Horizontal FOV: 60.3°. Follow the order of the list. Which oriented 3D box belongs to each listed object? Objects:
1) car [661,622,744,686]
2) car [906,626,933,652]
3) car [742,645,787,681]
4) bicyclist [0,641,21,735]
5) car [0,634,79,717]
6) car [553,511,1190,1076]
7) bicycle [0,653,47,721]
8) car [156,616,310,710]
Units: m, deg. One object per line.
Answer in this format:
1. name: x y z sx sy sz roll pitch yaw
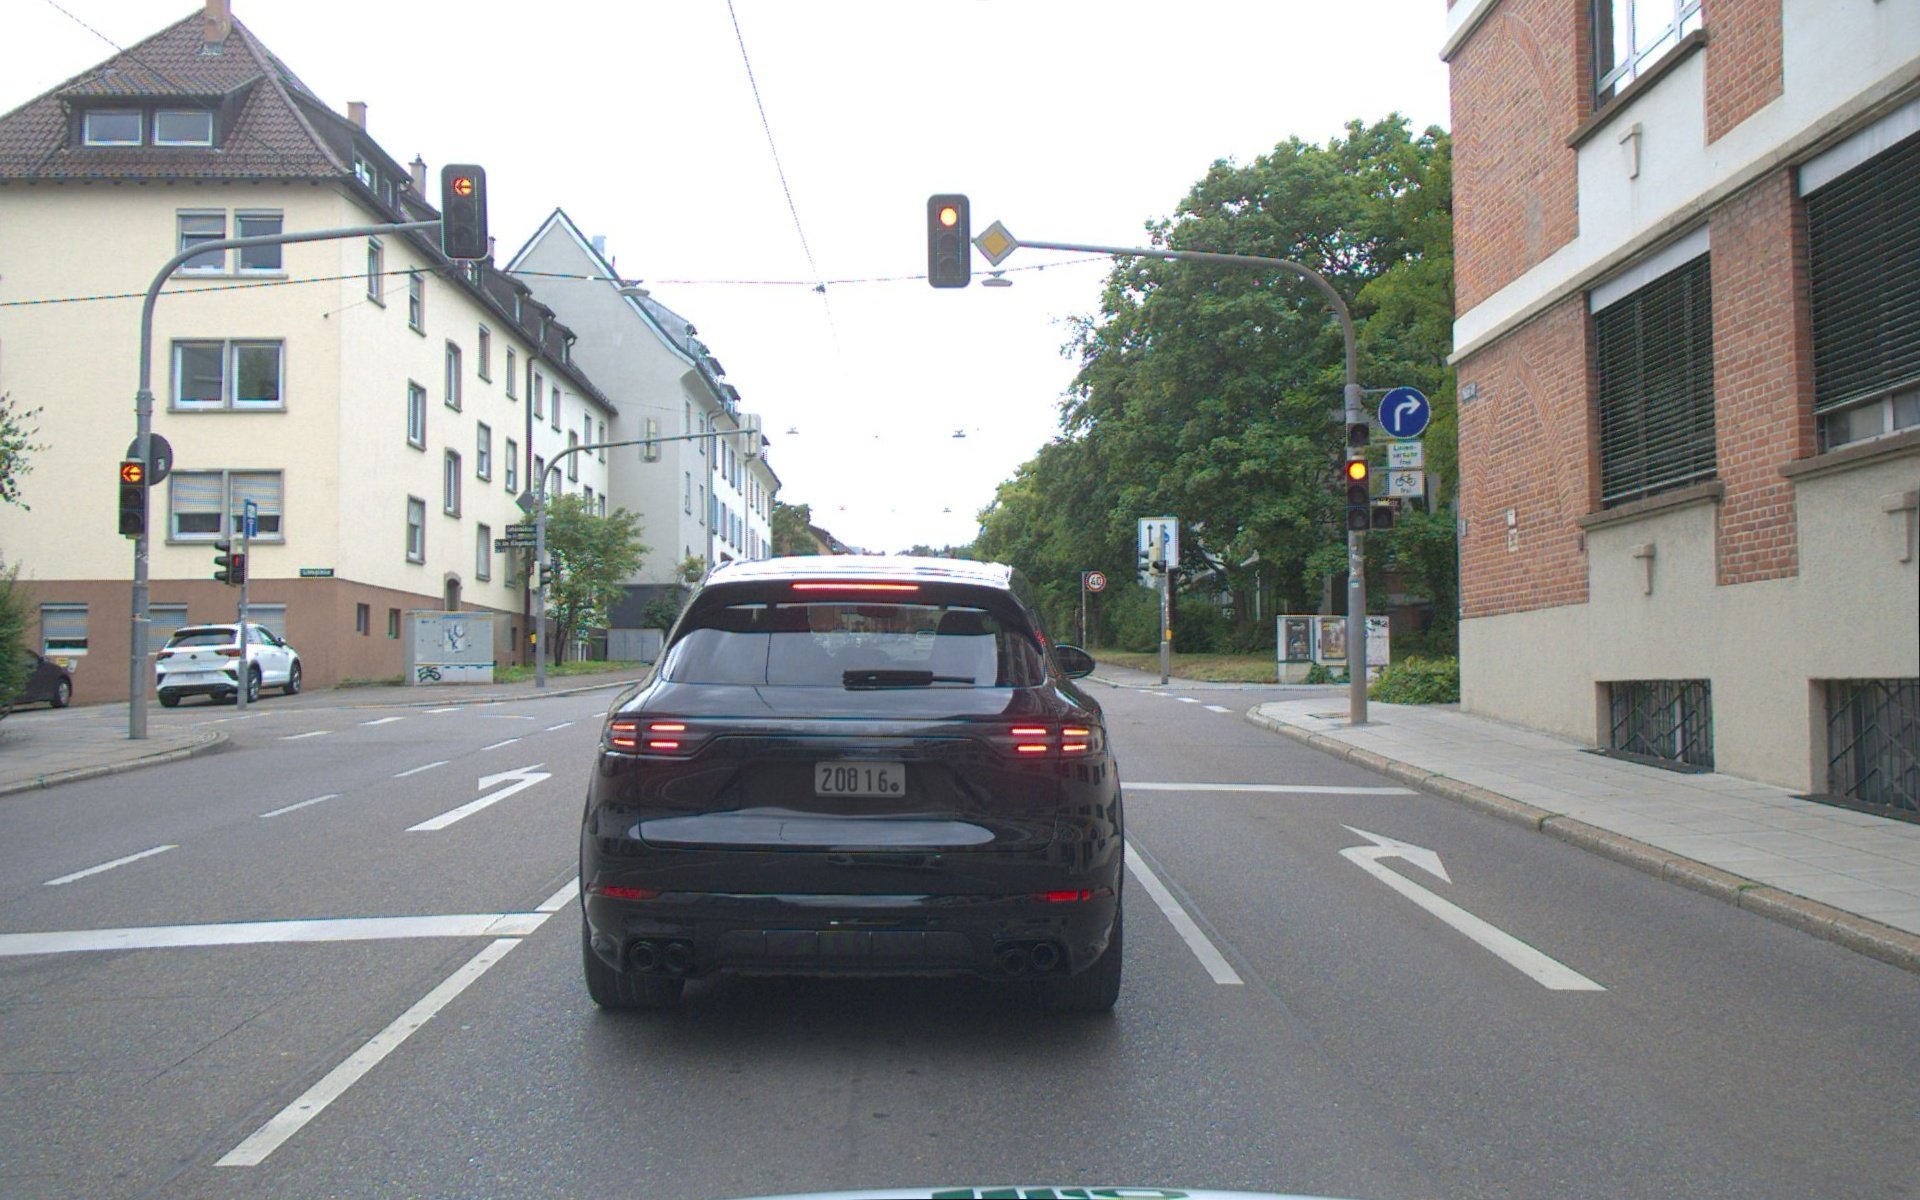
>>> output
1. car: -7.027 1.437 45.438 1.630 1.545 3.739 -4 0 0
2. car: -2.689 2.583 109.624 1.654 1.579 3.887 1 0 -3
3. car: -8.195 2.624 69.502 1.637 1.386 3.997 0 0 -4
4. bicyclist: -16.381 1.470 27.825 0.795 1.546 0.704 1 -1 -12
5. car: -19.695 1.555 33.360 1.636 1.573 4.100 -3 0 -1
6. car: -0.297 0.612 7.142 1.953 1.726 3.999 1 0 -1
7. bicycle: -16.498 1.455 27.798 1.872 1.100 0.701 1 0 -12
8. car: -14.764 1.235 33.808 1.638 1.691 3.995 -3 0 -5
